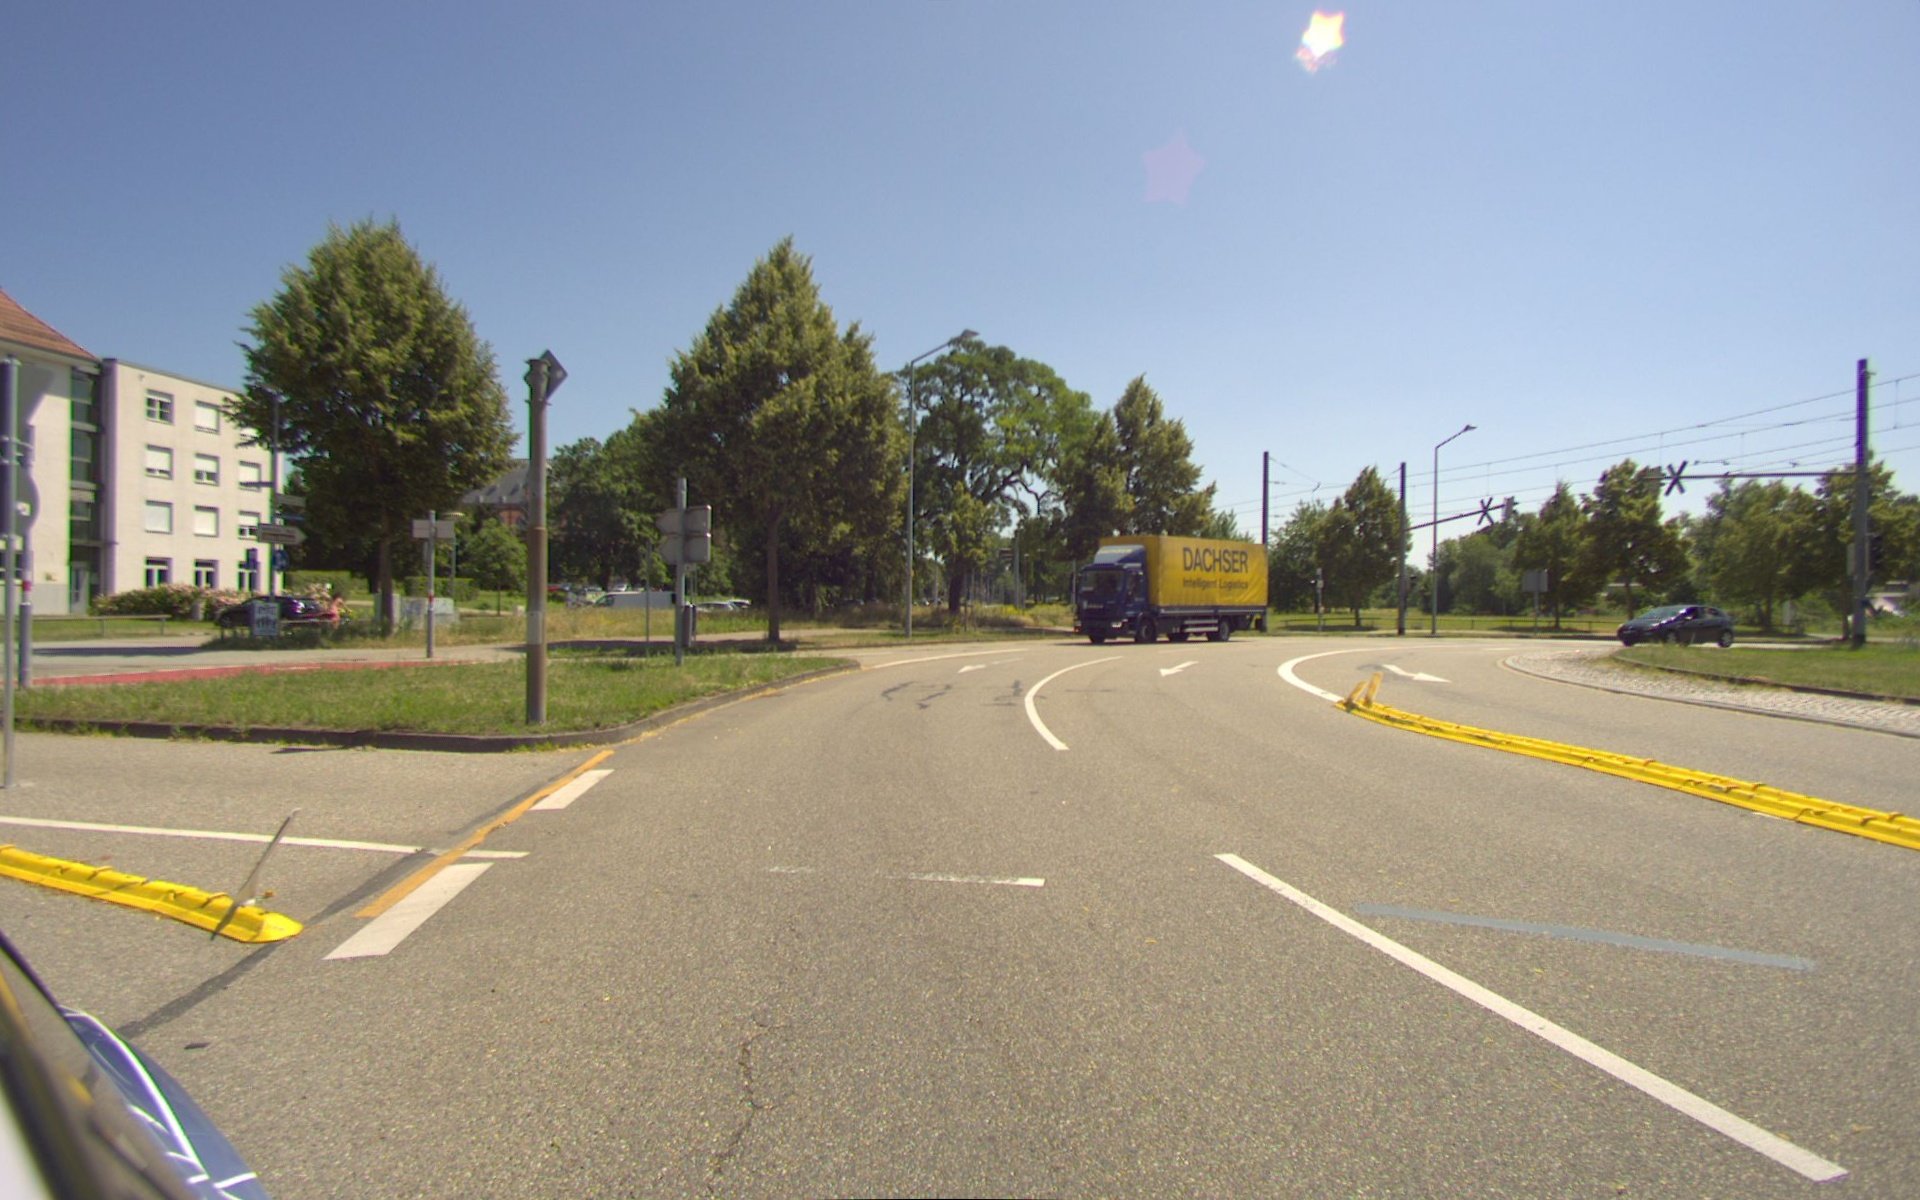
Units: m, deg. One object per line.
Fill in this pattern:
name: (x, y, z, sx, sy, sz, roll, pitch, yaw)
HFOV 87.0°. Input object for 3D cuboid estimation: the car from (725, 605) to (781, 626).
car: (-13.722, 1.023, 67.144, 3.350, 1.291, 1.351, 0, 0, 14)

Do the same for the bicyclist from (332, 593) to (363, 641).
bicyclist: (-21.750, 0.609, 35.958, 0.643, 1.676, 0.704, 0, 0, 26)

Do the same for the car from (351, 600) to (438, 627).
car: (-26.604, 0.618, 47.626, 3.471, 1.226, 1.354, 0, 0, 7)

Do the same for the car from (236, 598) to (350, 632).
car: (-27.406, 0.603, 41.646, 3.762, 1.336, 1.656, 0, 0, 7)

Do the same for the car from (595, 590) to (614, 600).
car: (-48.398, -0.676, 137.917, 1.459, 1.427, 3.026, 0, 0, 2)

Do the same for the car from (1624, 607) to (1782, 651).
car: (25.247, 0.972, 34.487, 3.941, 1.429, 1.981, 0, 0, -2)

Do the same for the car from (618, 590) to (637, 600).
car: (-45.485, -0.671, 138.536, 1.459, 1.427, 3.026, 0, 0, 2)

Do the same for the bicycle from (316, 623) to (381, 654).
bicycle: (-21.787, 1.362, 36.071, 0.437, 1.066, 2.069, 0, -1, 27)

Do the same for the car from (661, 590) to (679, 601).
car: (-39.520, -0.619, 137.910, 1.459, 1.427, 3.026, 0, 0, 2)

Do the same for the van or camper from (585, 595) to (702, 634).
van or camper: (-15.691, 0.715, 50.265, 5.208, 1.871, 1.996, 0, 0, 6)

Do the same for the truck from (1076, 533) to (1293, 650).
truck: (8.278, -0.276, 36.172, 9.470, 3.686, 2.710, 0, 0, -43)
